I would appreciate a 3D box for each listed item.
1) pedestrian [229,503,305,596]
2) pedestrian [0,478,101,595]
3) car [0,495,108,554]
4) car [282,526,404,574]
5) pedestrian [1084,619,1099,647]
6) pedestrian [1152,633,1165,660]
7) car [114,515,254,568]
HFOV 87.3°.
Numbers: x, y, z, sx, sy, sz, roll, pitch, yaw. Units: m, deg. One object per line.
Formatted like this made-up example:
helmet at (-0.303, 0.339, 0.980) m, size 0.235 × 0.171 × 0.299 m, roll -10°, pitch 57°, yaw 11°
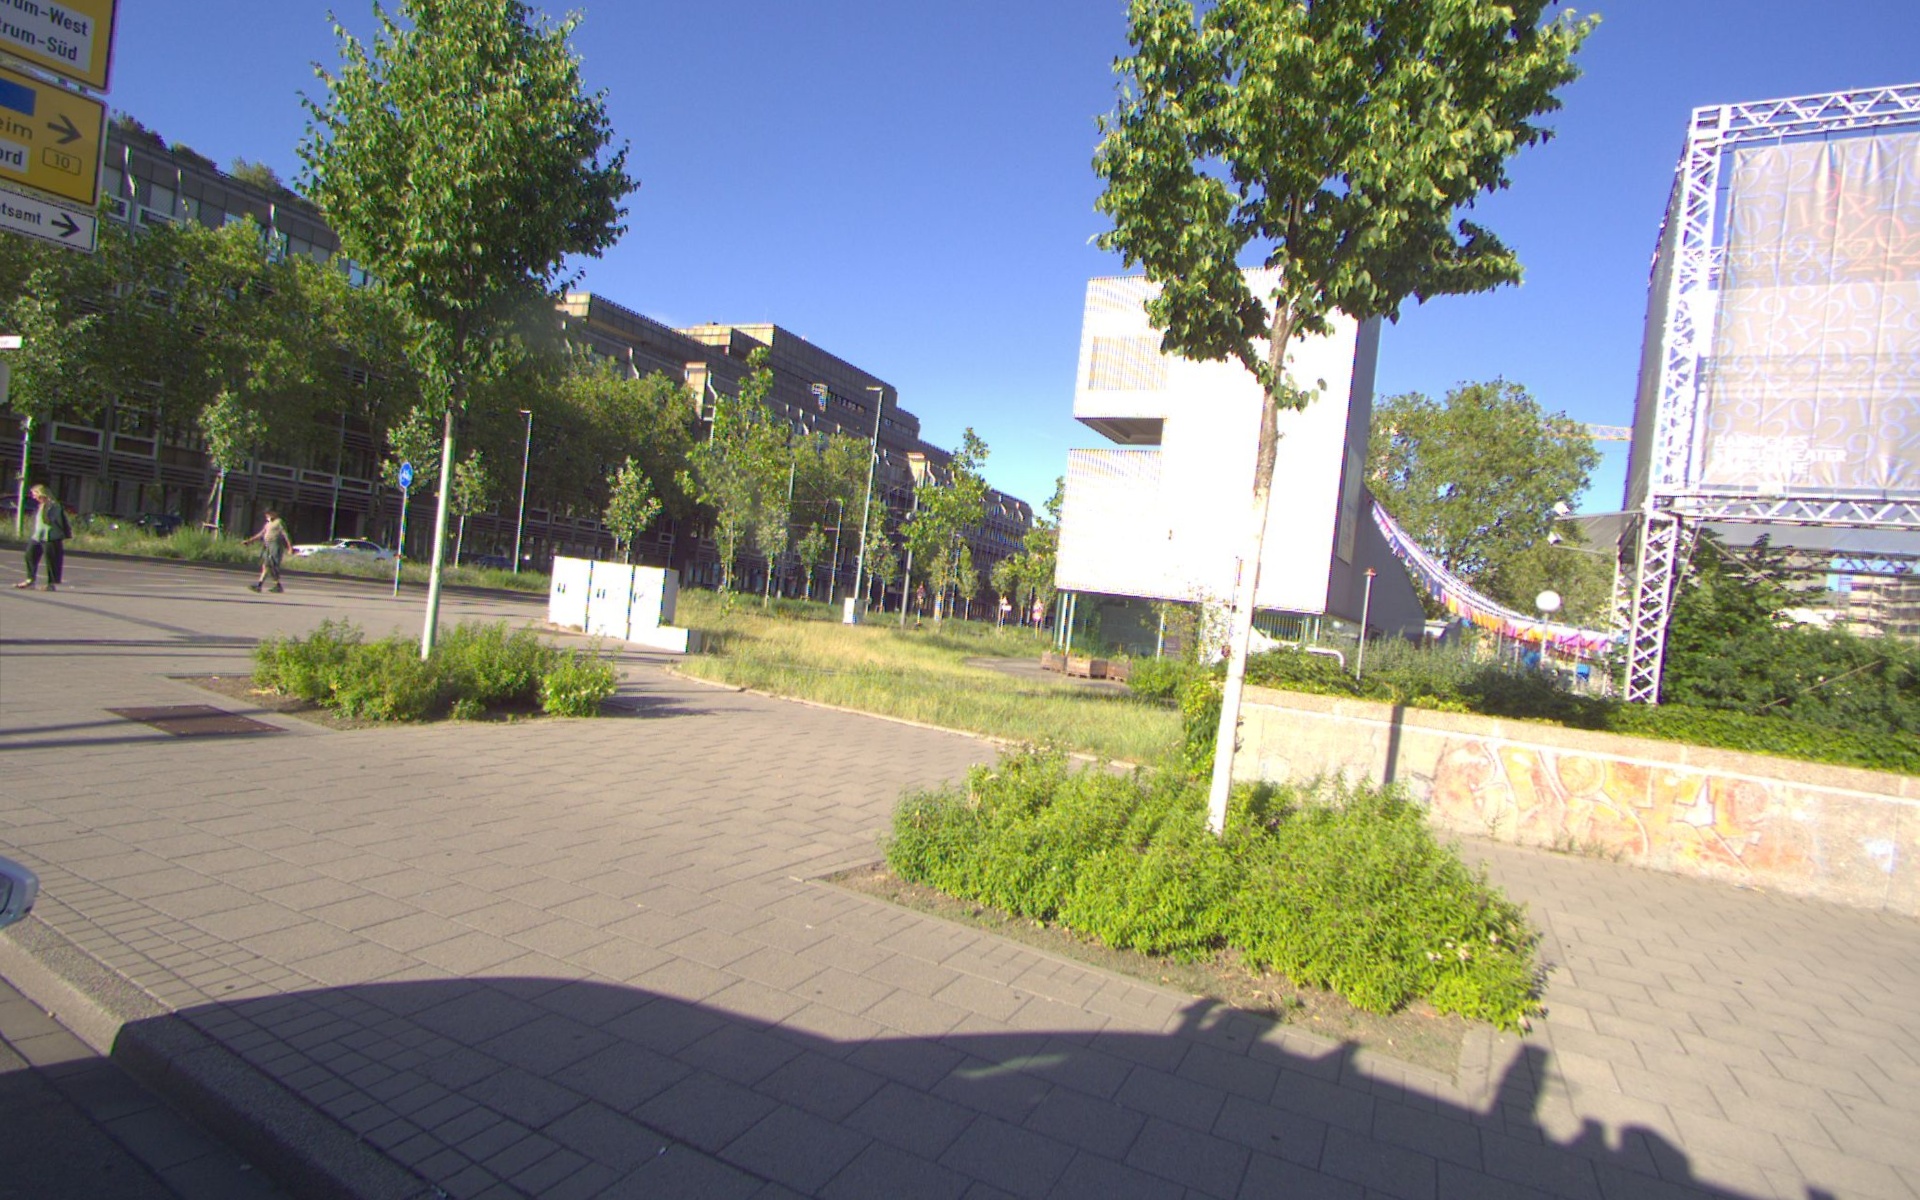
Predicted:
pedestrian at (-13.835, -1.001, 20.105) m, size 0.755 × 1.728 × 0.873 m, roll 7°, pitch 1°, yaw 30°
pedestrian at (-14.001, -0.959, 15.432) m, size 0.754 × 1.634 × 0.874 m, roll 7°, pitch 0°, yaw 18°
car at (-33.221, -2.778, 35.577) m, size 1.792 × 1.704 × 4.302 m, roll 7°, pitch -1°, yaw 21°
car at (-30.737, -2.466, 50.270) m, size 1.794 × 1.704 × 4.854 m, roll 7°, pitch -1°, yaw 28°
pedestrian at (7.713, 1.955, 59.054) m, size 0.520 × 1.571 × 0.638 m, roll 7°, pitch -1°, yaw 31°
pedestrian at (12.196, 2.835, 61.826) m, size 0.521 × 1.571 × 0.436 m, roll 7°, pitch -1°, yaw 32°
car at (-33.945, -2.521, 44.145) m, size 1.794 × 1.704 × 4.412 m, roll 7°, pitch -1°, yaw 29°
